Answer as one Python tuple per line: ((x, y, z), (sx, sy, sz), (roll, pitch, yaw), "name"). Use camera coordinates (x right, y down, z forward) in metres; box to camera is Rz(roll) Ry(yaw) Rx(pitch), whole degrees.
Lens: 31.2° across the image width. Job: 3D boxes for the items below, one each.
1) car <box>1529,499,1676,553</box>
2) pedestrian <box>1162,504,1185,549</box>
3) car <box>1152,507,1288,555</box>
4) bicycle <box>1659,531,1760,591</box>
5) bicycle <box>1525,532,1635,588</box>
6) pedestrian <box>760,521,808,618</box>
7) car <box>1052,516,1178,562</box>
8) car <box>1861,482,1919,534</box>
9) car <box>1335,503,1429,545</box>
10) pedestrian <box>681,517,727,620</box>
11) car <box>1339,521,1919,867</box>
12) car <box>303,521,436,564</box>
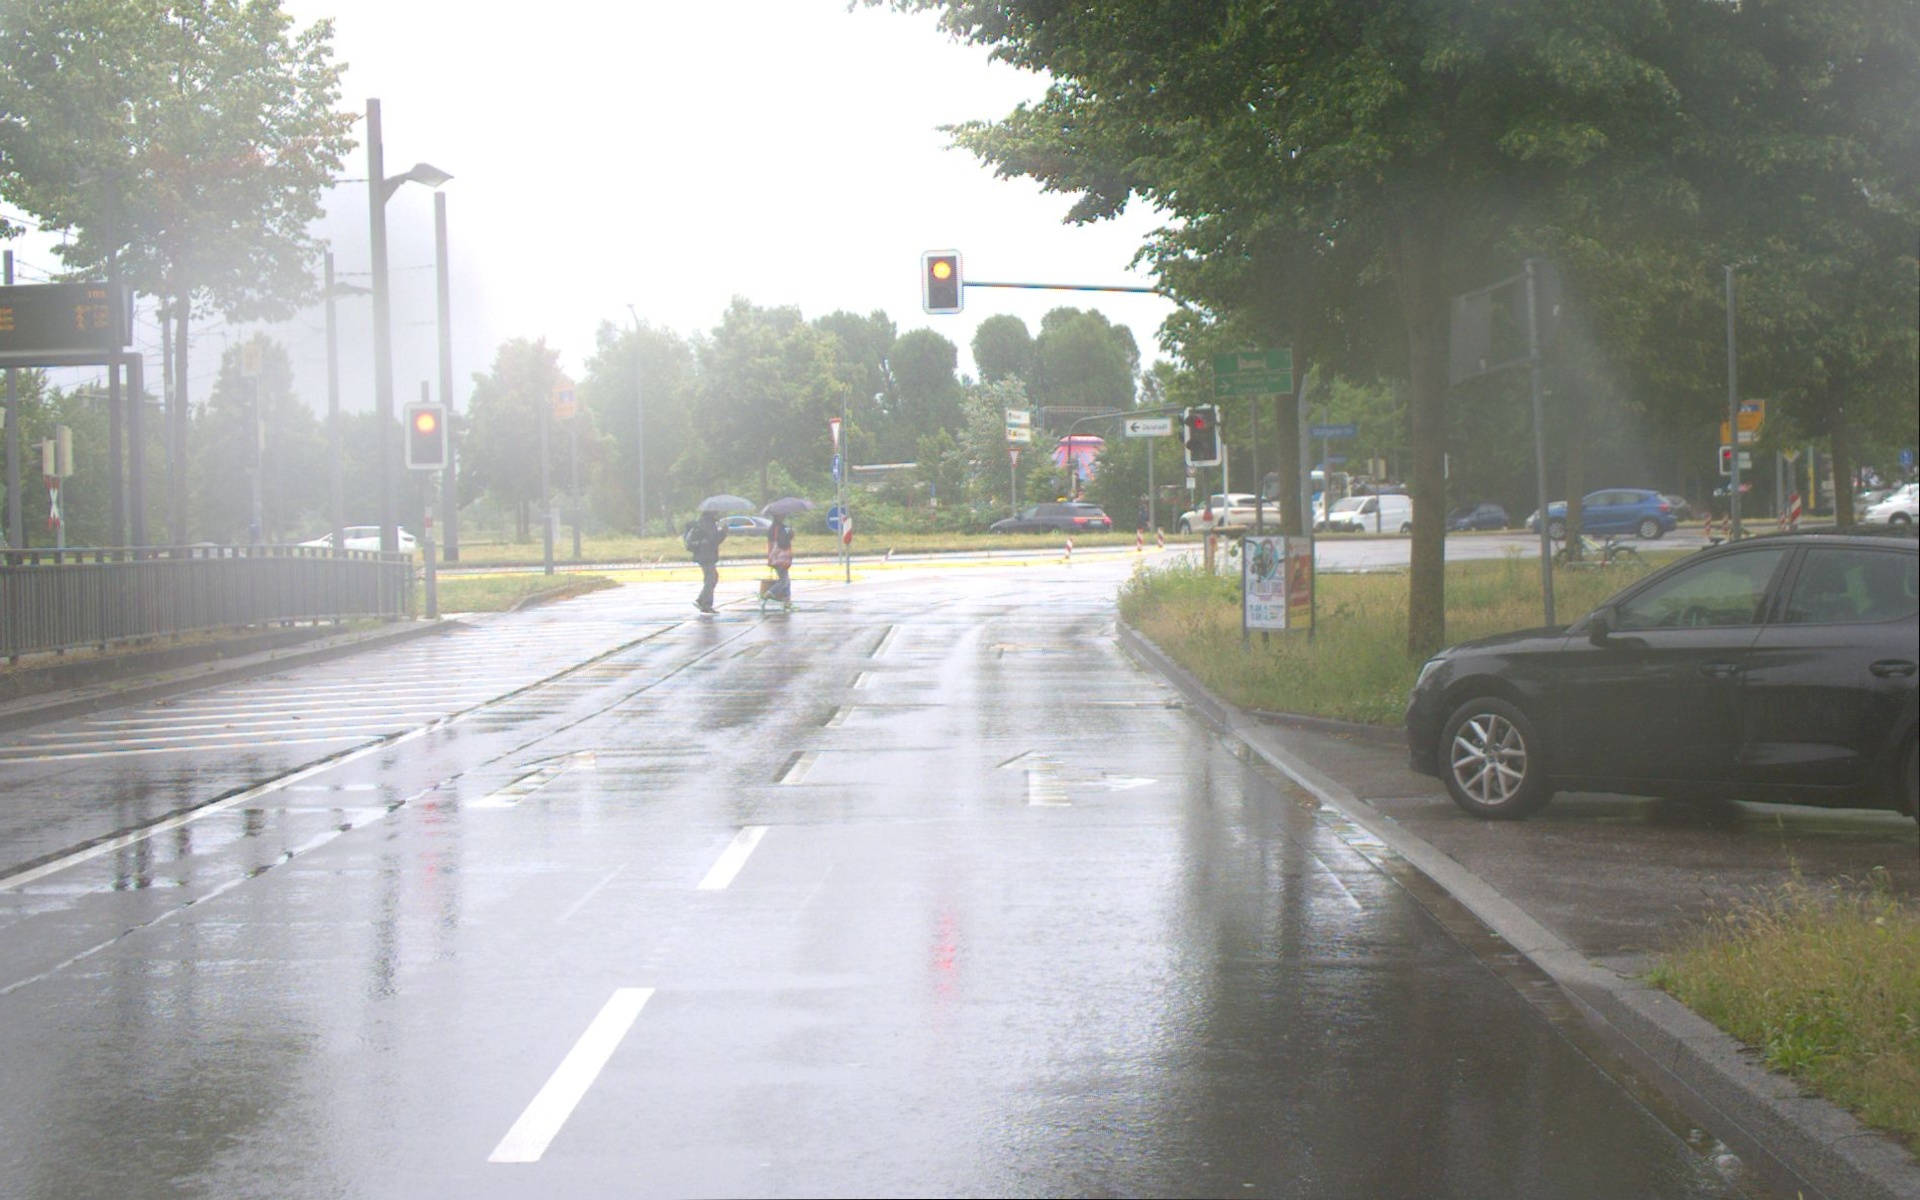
((18.319, -2.111, 97.975), (3.977, 1.449, 1.622), (-1, 1, 15), "car")
((6.170, -2.126, 99.430), (0.453, 1.300, 0.485), (0, 2, 40), "pedestrian")
((8.116, -2.154, 107.394), (4.110, 1.449, 1.619), (0, 2, 43), "car")
((10.128, -0.528, 46.523), (0.452, 0.784, 2.010), (1, 1, -15), "bicycle")
((8.907, -0.579, 49.461), (0.379, 0.784, 1.859), (1, 1, -32), "bicycle")
((-2.688, -0.468, 52.485), (0.680, 1.456, 0.573), (-2, 0, -3), "pedestrian")
((5.096, -2.011, 113.310), (3.984, 1.449, 1.620), (0, 2, 41), "car")
((27.492, -2.607, 96.482), (3.974, 1.449, 1.623), (-1, 1, 1), "car")
((17.476, -3.130, 142.276), (1.801, 1.656, 4.124), (2, 1, 43), "car")
((-3.823, -0.470, 51.336), (0.621, 1.517, 0.741), (1, 1, 0), "pedestrian")
((4.021, 0.371, 16.199), (1.828, 1.415, 4.344), (-3, 3, -41), "car")
((-21.281, -2.065, 123.866), (4.606, 1.449, 1.624), (-1, 1, -13), "car")
